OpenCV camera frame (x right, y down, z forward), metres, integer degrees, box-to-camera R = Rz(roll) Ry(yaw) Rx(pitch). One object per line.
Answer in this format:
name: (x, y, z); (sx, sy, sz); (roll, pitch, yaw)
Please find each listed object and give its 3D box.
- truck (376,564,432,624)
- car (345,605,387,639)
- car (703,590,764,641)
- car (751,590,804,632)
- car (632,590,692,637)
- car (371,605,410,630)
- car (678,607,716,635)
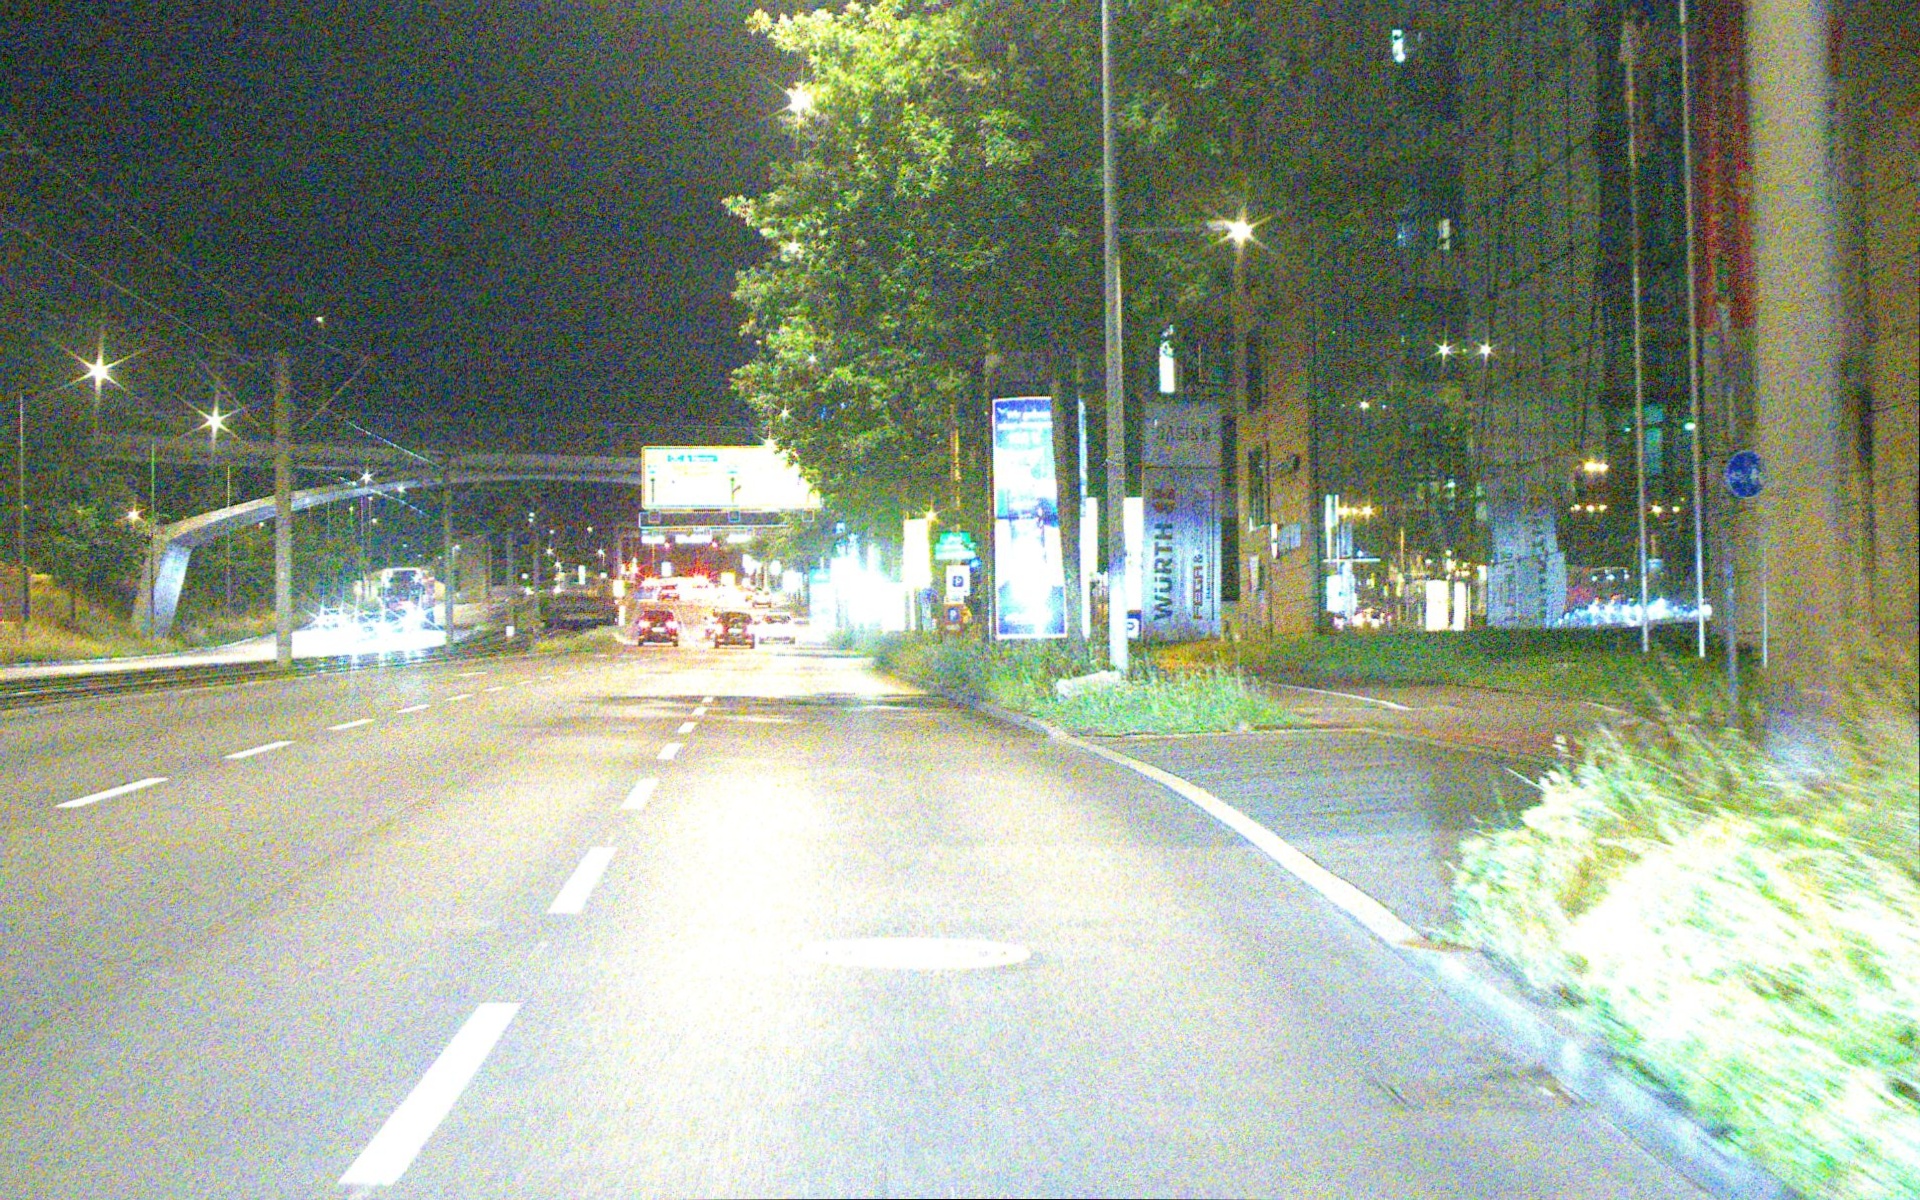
truck: (-35.804, -0.417, 221.506); (3.040, 3.806, 4.935); (0, 0, -3)
car: (-31.772, 1.173, 183.988); (1.863, 1.744, 3.702); (0, 0, -4)
car: (-9.786, 0.643, 148.885); (2.356, 2.122, 4.826); (0, 0, 0)
car: (-9.302, 0.540, 175.678); (2.427, 2.106, 4.826); (0, 0, 0)
car: (-13.325, 0.588, 154.006); (2.262, 2.007, 4.826); (0, 0, 0)
car: (-34.199, 1.032, 206.463); (1.910, 1.468, 3.772); (0, 0, -4)
car: (-14.486, 1.150, 189.267); (1.993, 1.548, 4.000); (0, 0, -3)
